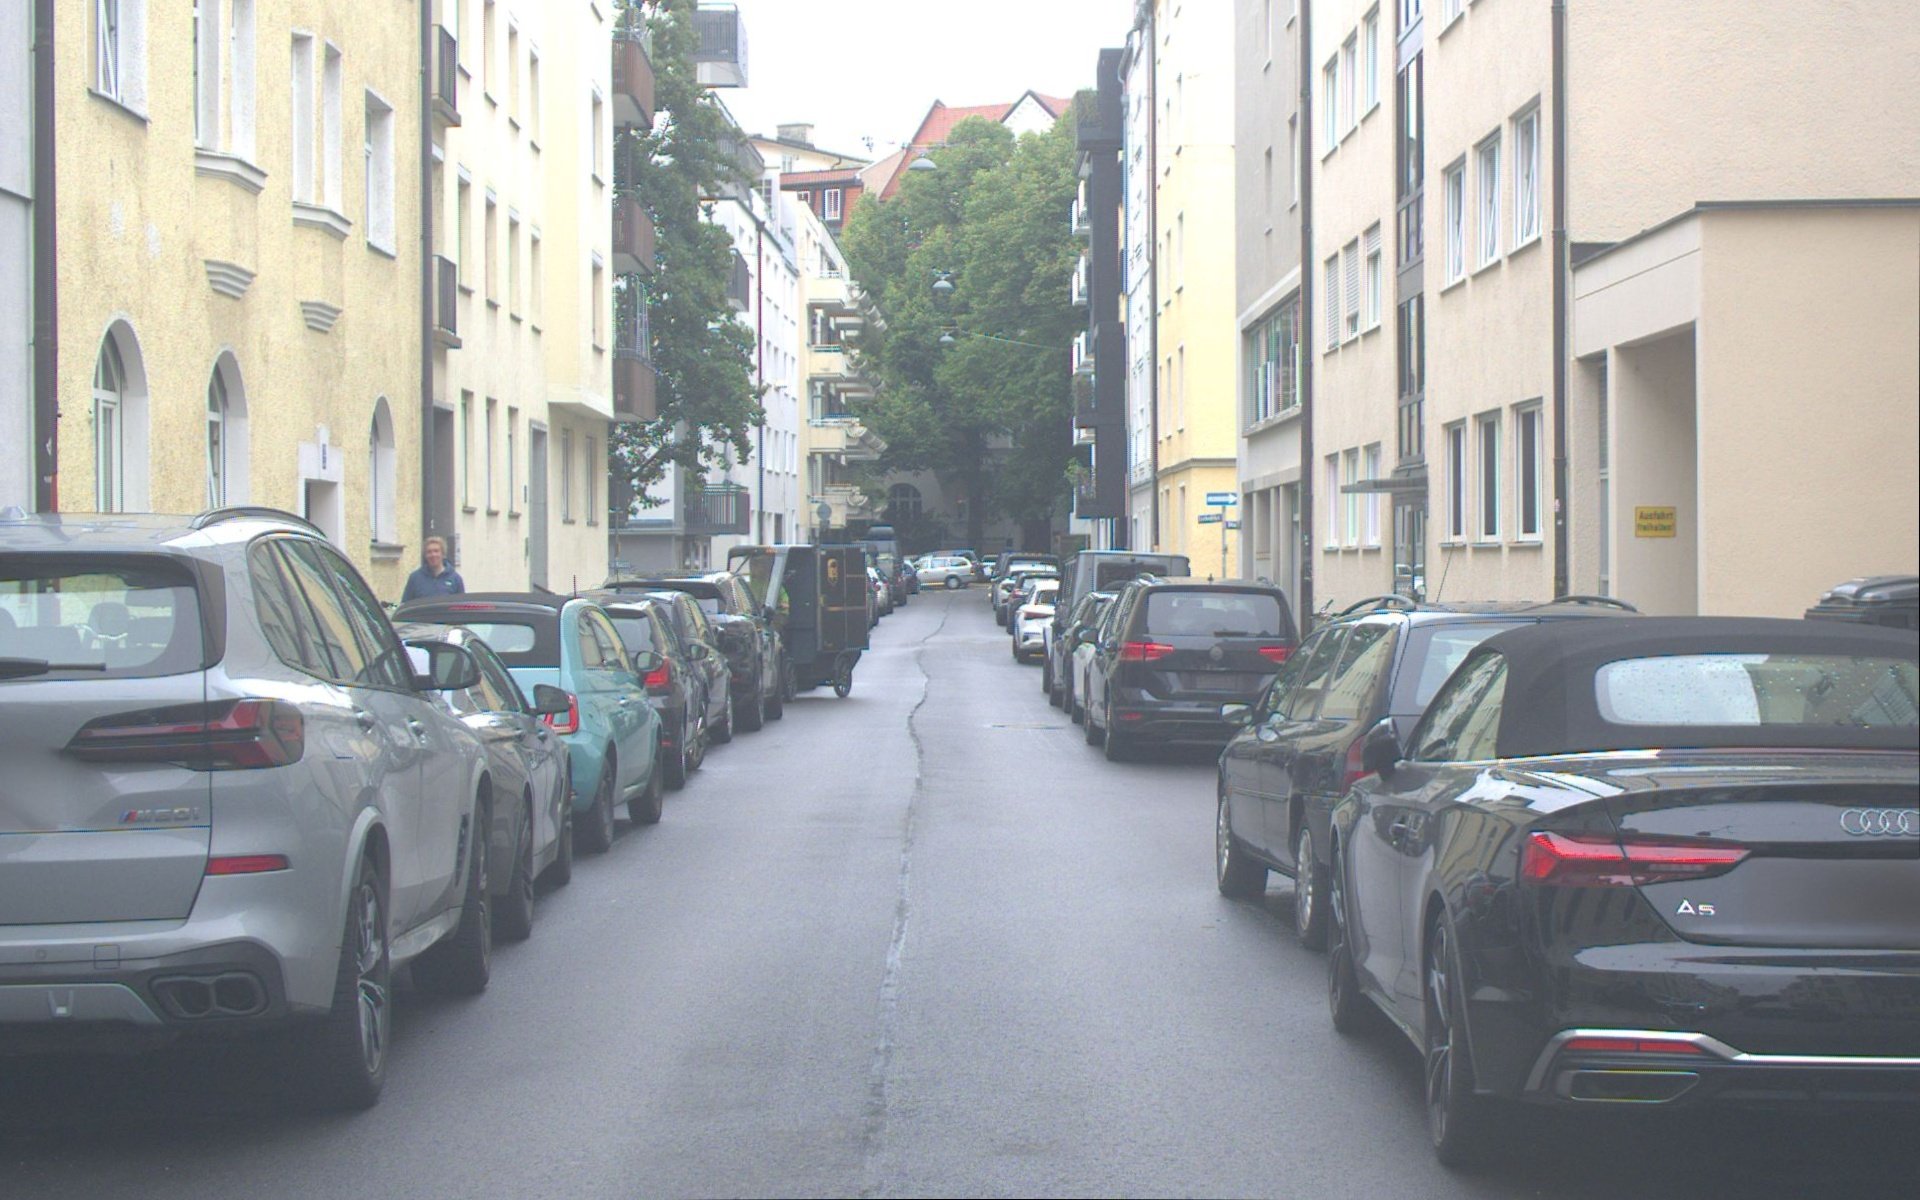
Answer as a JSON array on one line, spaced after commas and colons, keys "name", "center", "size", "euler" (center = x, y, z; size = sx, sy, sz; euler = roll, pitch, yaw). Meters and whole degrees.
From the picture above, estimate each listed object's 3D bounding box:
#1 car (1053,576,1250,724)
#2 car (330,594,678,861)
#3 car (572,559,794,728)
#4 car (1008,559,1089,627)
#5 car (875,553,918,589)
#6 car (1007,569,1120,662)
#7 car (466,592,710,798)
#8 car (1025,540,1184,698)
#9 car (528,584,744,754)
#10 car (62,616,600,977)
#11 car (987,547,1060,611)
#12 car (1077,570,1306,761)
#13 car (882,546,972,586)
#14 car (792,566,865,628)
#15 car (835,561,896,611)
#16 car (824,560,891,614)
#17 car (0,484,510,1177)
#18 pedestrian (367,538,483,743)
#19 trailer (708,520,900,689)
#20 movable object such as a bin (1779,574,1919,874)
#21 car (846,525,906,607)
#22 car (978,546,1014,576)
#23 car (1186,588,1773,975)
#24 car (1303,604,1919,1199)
[{"name": "car", "center": [2.016, 0.499, 37.187], "size": [1.711, 1.481, 4.244], "euler": [1, 0, -2]}, {"name": "car", "center": [-2.703, 0.714, 21.018], "size": [1.563, 1.455, 3.404], "euler": [-1, 0, 2]}, {"name": "car", "center": [-2.871, 0.417, 36.511], "size": [1.879, 1.654, 4.414], "euler": [-1, 0, 1]}, {"name": "car", "center": [2.078, -0.193, 81.729], "size": [1.751, 1.464, 4.343], "euler": [2, 1, 0]}, {"name": "car", "center": [-2.605, -1.217, 141.649], "size": [1.642, 1.379, 3.483], "euler": [-3, 1, 0]}, {"name": "car", "center": [1.822, 0.247, 61.654], "size": [1.819, 1.403, 3.953], "euler": [1, 3, -1]}, {"name": "car", "center": [-2.838, 0.685, 26.866], "size": [1.563, 1.455, 3.764], "euler": [-1, 0, -1]}, {"name": "car", "center": [1.911, 0.211, 46.672], "size": [1.750, 1.968, 4.343], "euler": [2, 1, -2]}, {"name": "car", "center": [-2.951, 0.596, 31.879], "size": [1.563, 1.455, 3.475], "euler": [-1, 0, 1]}, {"name": "car", "center": [-2.801, 0.814, 16.226], "size": [1.811, 1.382, 4.251], "euler": [-2, 0, -1]}, {"name": "car", "center": [1.664, -0.581, 91.641], "size": [1.682, 1.562, 4.416], "euler": [2, 1, -2]}, {"name": "car", "center": [2.045, 0.549, 31.453], "size": [1.711, 1.602, 4.244], "euler": [1, 0, -1]}, {"name": "car", "center": [-1.482, -1.498, 151.845], "size": [3.885, 1.579, 1.648], "euler": [-3, 1, -1]}, {"name": "car", "center": [-3.206, -0.095, 84.457], "size": [1.693, 1.437, 3.978], "euler": [-1, 1, -1]}, {"name": "car", "center": [-2.969, -0.460, 108.704], "size": [1.777, 1.448, 4.046], "euler": [-3, 1, 0]}, {"name": "car", "center": [-3.059, -0.411, 103.599], "size": [1.777, 1.482, 4.519], "euler": [-3, 1, 1]}, {"name": "car", "center": [-2.674, 0.605, 11.249], "size": [1.862, 1.764, 4.736], "euler": [-2, 0, -2]}, {"name": "pedestrian", "center": [-4.685, 0.344, 30.176], "size": [0.839, 1.758, 1.068], "euler": [1, 0, 0]}, {"name": "trailer", "center": [-1.995, 0.049, 44.886], "size": [1.356, 2.108, 3.315], "euler": [1, 0, 19]}, {"name": "movable object such as a bin", "center": [4.851, 0.584, 17.273], "size": [1.032, 1.418, 1.587], "euler": [-2, 0, 0]}, {"name": "car", "center": [-2.994, -1.237, 123.314], "size": [1.936, 2.792, 4.533], "euler": [-3, 1, 0]}, {"name": "car", "center": [1.742, -1.923, 168.789], "size": [1.642, 1.379, 3.746], "euler": [-3, 1, 0]}, {"name": "car", "center": [2.156, 0.695, 15.519], "size": [1.716, 1.466, 4.532], "euler": [1, 0, -3]}, {"name": "car", "center": [2.084, 0.736, 9.862], "size": [1.833, 1.401, 4.411], "euler": [1, 0, 1]}]
